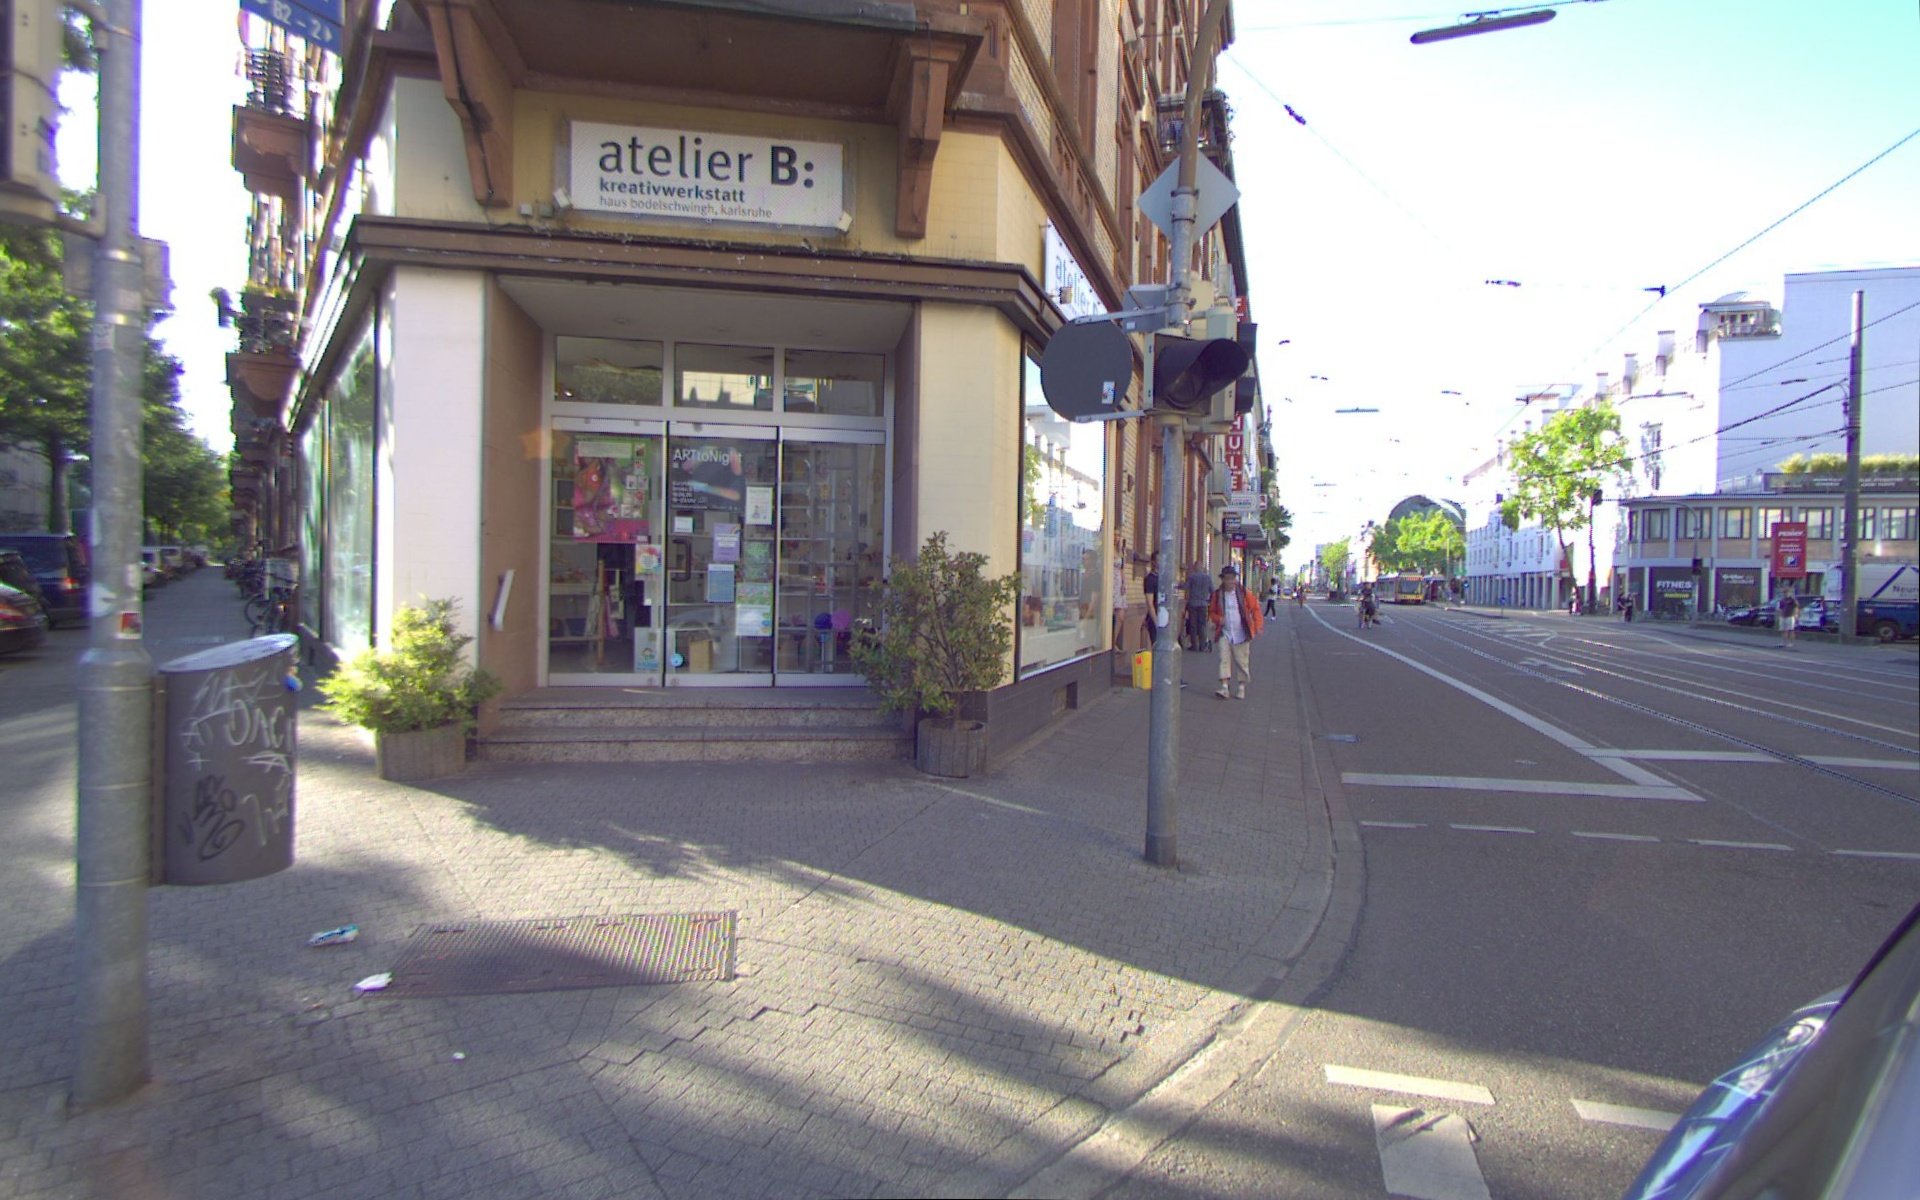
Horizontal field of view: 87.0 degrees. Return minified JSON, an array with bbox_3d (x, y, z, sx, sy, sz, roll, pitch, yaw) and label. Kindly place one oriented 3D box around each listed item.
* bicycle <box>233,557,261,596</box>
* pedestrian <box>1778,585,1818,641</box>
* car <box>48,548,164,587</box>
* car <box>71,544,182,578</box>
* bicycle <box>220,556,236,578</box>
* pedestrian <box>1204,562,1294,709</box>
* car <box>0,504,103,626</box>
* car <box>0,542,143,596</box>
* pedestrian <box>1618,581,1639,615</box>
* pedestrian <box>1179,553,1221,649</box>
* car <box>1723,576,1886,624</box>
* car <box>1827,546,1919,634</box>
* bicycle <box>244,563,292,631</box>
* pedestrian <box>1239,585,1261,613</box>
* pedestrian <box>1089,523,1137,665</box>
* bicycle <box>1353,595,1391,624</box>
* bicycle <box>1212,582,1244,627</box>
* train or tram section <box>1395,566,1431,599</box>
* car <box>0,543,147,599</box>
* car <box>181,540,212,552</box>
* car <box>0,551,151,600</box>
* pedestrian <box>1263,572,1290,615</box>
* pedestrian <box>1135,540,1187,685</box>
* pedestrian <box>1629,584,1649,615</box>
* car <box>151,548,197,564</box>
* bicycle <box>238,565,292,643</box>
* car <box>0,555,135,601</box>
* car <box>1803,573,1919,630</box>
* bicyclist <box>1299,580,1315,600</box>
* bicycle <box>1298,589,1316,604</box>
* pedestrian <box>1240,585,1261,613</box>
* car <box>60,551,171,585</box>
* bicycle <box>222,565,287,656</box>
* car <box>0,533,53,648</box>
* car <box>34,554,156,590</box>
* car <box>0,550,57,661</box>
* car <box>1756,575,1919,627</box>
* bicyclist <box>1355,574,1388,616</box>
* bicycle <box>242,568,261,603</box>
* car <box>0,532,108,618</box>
[{"bbox_3d":[-22.695,-0.751,32.220,0.660,1.186,2.593,-2,3,-35],"label":"bicycle"},{"bbox_3d":[26.312,0.403,31.789,0.716,1.716,0.686,1,1,17],"label":"pedestrian"},{"bbox_3d":[-41.357,-1.625,49.166,4.158,1.798,1.834,-3,4,-38],"label":"car"},{"bbox_3d":[-49.942,-2.365,60.770,4.980,1.948,1.835,-3,4,-37],"label":"car"},{"bbox_3d":[-41.326,-1.849,57.178,0.660,1.186,2.593,-2,3,-35],"label":"bicycle"},{"bbox_3d":[3.560,0.401,12.553,0.993,1.701,1.169,1,1,14],"label":"pedestrian"},{"bbox_3d":[-19.126,-0.674,18.648,4.945,2.242,1.992,0,1,-37],"label":"car"},{"bbox_3d":[-29.249,-1.039,33.033,3.951,1.647,1.804,-3,3,-38],"label":"car"},{"bbox_3d":[34.640,-0.103,52.436,0.608,1.751,0.895,1,1,15],"label":"pedestrian"},{"bbox_3d":[4.822,0.008,20.286,0.715,1.861,0.895,1,1,19],"label":"pedestrian"},{"bbox_3d":[35.322,-0.027,42.500,4.761,1.860,2.045,1,1,21],"label":"car"},{"bbox_3d":[31.779,-0.318,32.806,5.086,2.792,2.045,1,1,21],"label":"car"},{"bbox_3d":[-12.976,-0.092,19.017,0.660,1.186,2.594,-2,3,-33],"label":"bicycle"},{"bbox_3d":[12.691,-0.041,44.273,0.888,1.191,0.721,1,1,16],"label":"pedestrian"},{"bbox_3d":[2.005,-0.089,13.217,0.542,1.797,0.568,1,1,14],"label":"pedestrian"},{"bbox_3d":[15.745,0.325,38.731,1.060,1.015,3.045,1,1,17],"label":"bicycle"},{"bbox_3d":[8.234,0.113,31.013,0.882,1.286,2.790,1,1,16],"label":"bicycle"},{"bbox_3d":[46.579,-1.776,104.264,2.250,3.178,9.983,1,1,18],"label":"train or tram section"},{"bbox_3d":[-33.974,-1.178,38.705,4.380,1.947,1.849,-4,5,-39],"label":"car"},{"bbox_3d":[-126.809,-8.986,168.093,3.918,1.882,1.754,1,1,-28],"label":"car"},{"bbox_3d":[-32.186,-0.916,36.748,4.279,1.575,1.850,-4,5,-37],"label":"car"},{"bbox_3d":[13.897,-0.271,44.479,0.882,1.861,0.725,1,1,-6],"label":"pedestrian"},{"bbox_3d":[2.584,0.143,12.976,0.593,1.797,0.749,1,1,14],"label":"pedestrian"},{"bbox_3d":[35.645,-0.046,53.148,0.608,1.626,0.895,1,1,15],"label":"pedestrian"},{"bbox_3d":[-83.283,-4.683,107.315,3.792,1.593,1.717,-3,4,-37],"label":"car"},{"bbox_3d":[-11.559,0.015,16.883,0.660,1.186,2.594,-2,3,-33],"label":"bicycle"},{"bbox_3d":[-30.995,-0.775,34.781,3.950,1.451,1.794,-3,3,-37],"label":"car"},{"bbox_3d":[32.668,0.048,35.138,4.761,1.860,2.045,1,1,21],"label":"car"},{"bbox_3d":[24.718,-0.721,72.095,1.061,1.426,0.834,1,1,18],"label":"bicyclist"},{"bbox_3d":[24.703,-0.291,72.092,1.060,1.015,3.045,1,1,17],"label":"bicycle"},{"bbox_3d":[12.929,-0.048,45.043,0.888,1.191,0.721,1,1,16],"label":"pedestrian"},{"bbox_3d":[-42.813,-1.661,51.348,4.166,1.630,1.831,-3,4,-44],"label":"car"},{"bbox_3d":[-10.170,0.094,14.653,0.660,1.186,2.594,-2,3,-33],"label":"bicycle"},{"bbox_3d":[-16.265,-0.106,14.502,4.614,1.699,1.851,-2,2,-35],"label":"car"},{"bbox_3d":[-38.296,-1.282,44.925,3.950,1.485,1.733,-3,3,-37],"label":"car"},{"bbox_3d":[-14.588,0.111,12.621,4.710,1.430,1.852,-2,2,-34],"label":"car"},{"bbox_3d":[34.555,0.001,39.722,4.761,1.860,2.045,1,1,21],"label":"car"},{"bbox_3d":[15.759,-0.194,38.746,1.061,1.557,0.836,1,1,18],"label":"bicyclist"},{"bbox_3d":[-20.688,-0.443,29.536,0.398,0.974,1.867,-3,4,-36],"label":"bicycle"},{"bbox_3d":[-23.877,-0.610,24.705,4.607,2.058,1.877,-3,3,-39],"label":"car"}]
